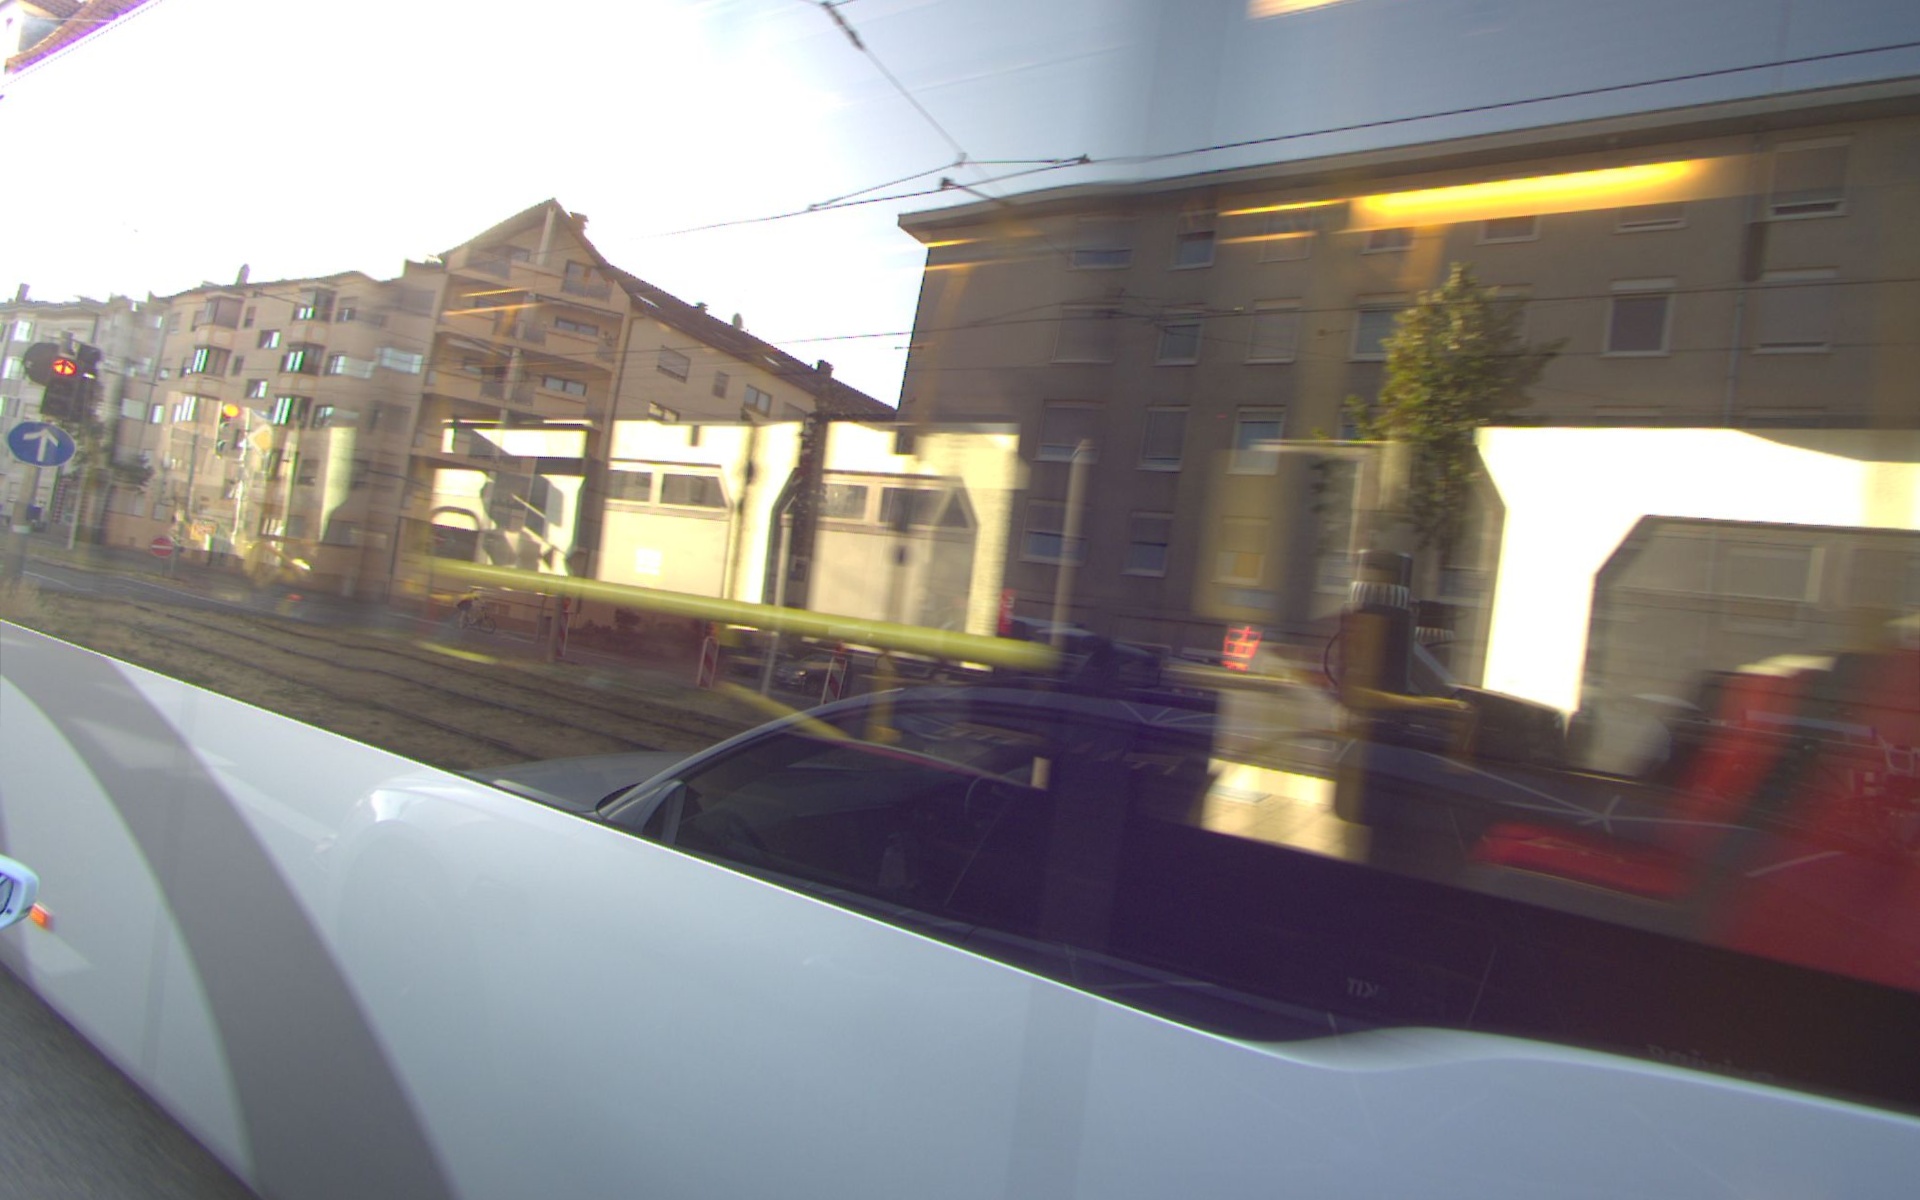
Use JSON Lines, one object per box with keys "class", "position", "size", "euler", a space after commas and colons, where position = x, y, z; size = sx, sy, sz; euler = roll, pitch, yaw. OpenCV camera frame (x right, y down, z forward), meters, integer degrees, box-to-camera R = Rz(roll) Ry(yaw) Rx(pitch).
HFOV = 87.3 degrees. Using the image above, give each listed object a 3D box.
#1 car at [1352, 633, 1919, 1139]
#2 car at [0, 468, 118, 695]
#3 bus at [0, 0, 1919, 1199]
{"class": "car", "position": [4.076, 1.188, 4.196], "size": [4.159, 1.556, 1.840], "euler": [7, 1, 32]}
{"class": "car", "position": [-8.565, -0.342, 7.894], "size": [4.018, 1.595, 1.771], "euler": [7, 1, 32]}
{"class": "bus", "position": [-1.852, -0.251, 3.710], "size": [8.979, 3.092, 2.743], "euler": [7, -1, 32]}
